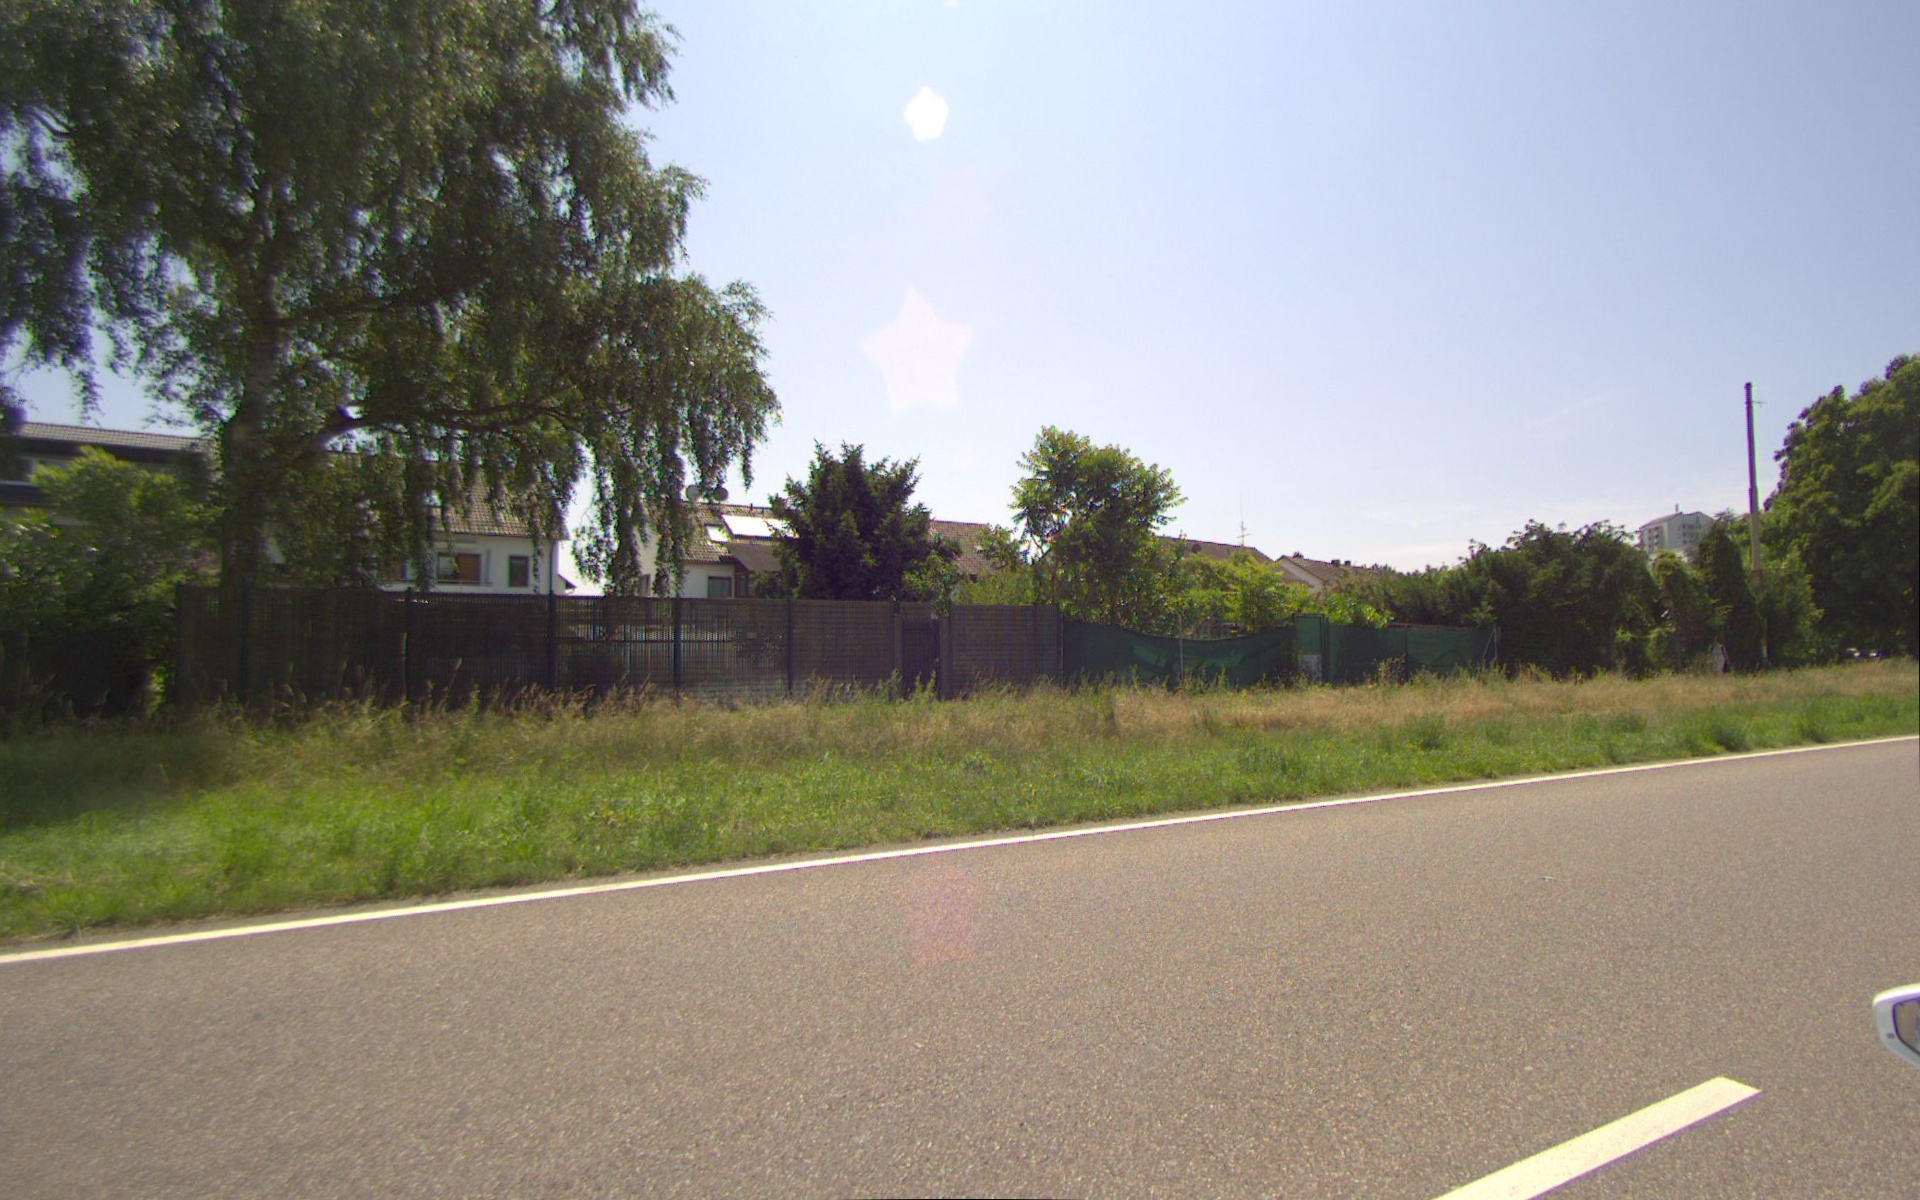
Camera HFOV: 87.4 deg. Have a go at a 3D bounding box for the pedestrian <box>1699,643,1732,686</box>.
[{"bbox_3d":[24.272,2.061,32.273,0.788,1.373,0.579,1,-1,-27],"label":"pedestrian"}]

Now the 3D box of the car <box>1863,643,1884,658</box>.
[{"bbox_3d":[116.988,6.451,128.637,1.825,1.973,3.981,-1,-2,40],"label":"car"}]

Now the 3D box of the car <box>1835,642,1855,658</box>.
[{"bbox_3d":[115.271,6.504,130.848,1.825,1.973,3.981,-1,-2,40],"label":"car"}]
